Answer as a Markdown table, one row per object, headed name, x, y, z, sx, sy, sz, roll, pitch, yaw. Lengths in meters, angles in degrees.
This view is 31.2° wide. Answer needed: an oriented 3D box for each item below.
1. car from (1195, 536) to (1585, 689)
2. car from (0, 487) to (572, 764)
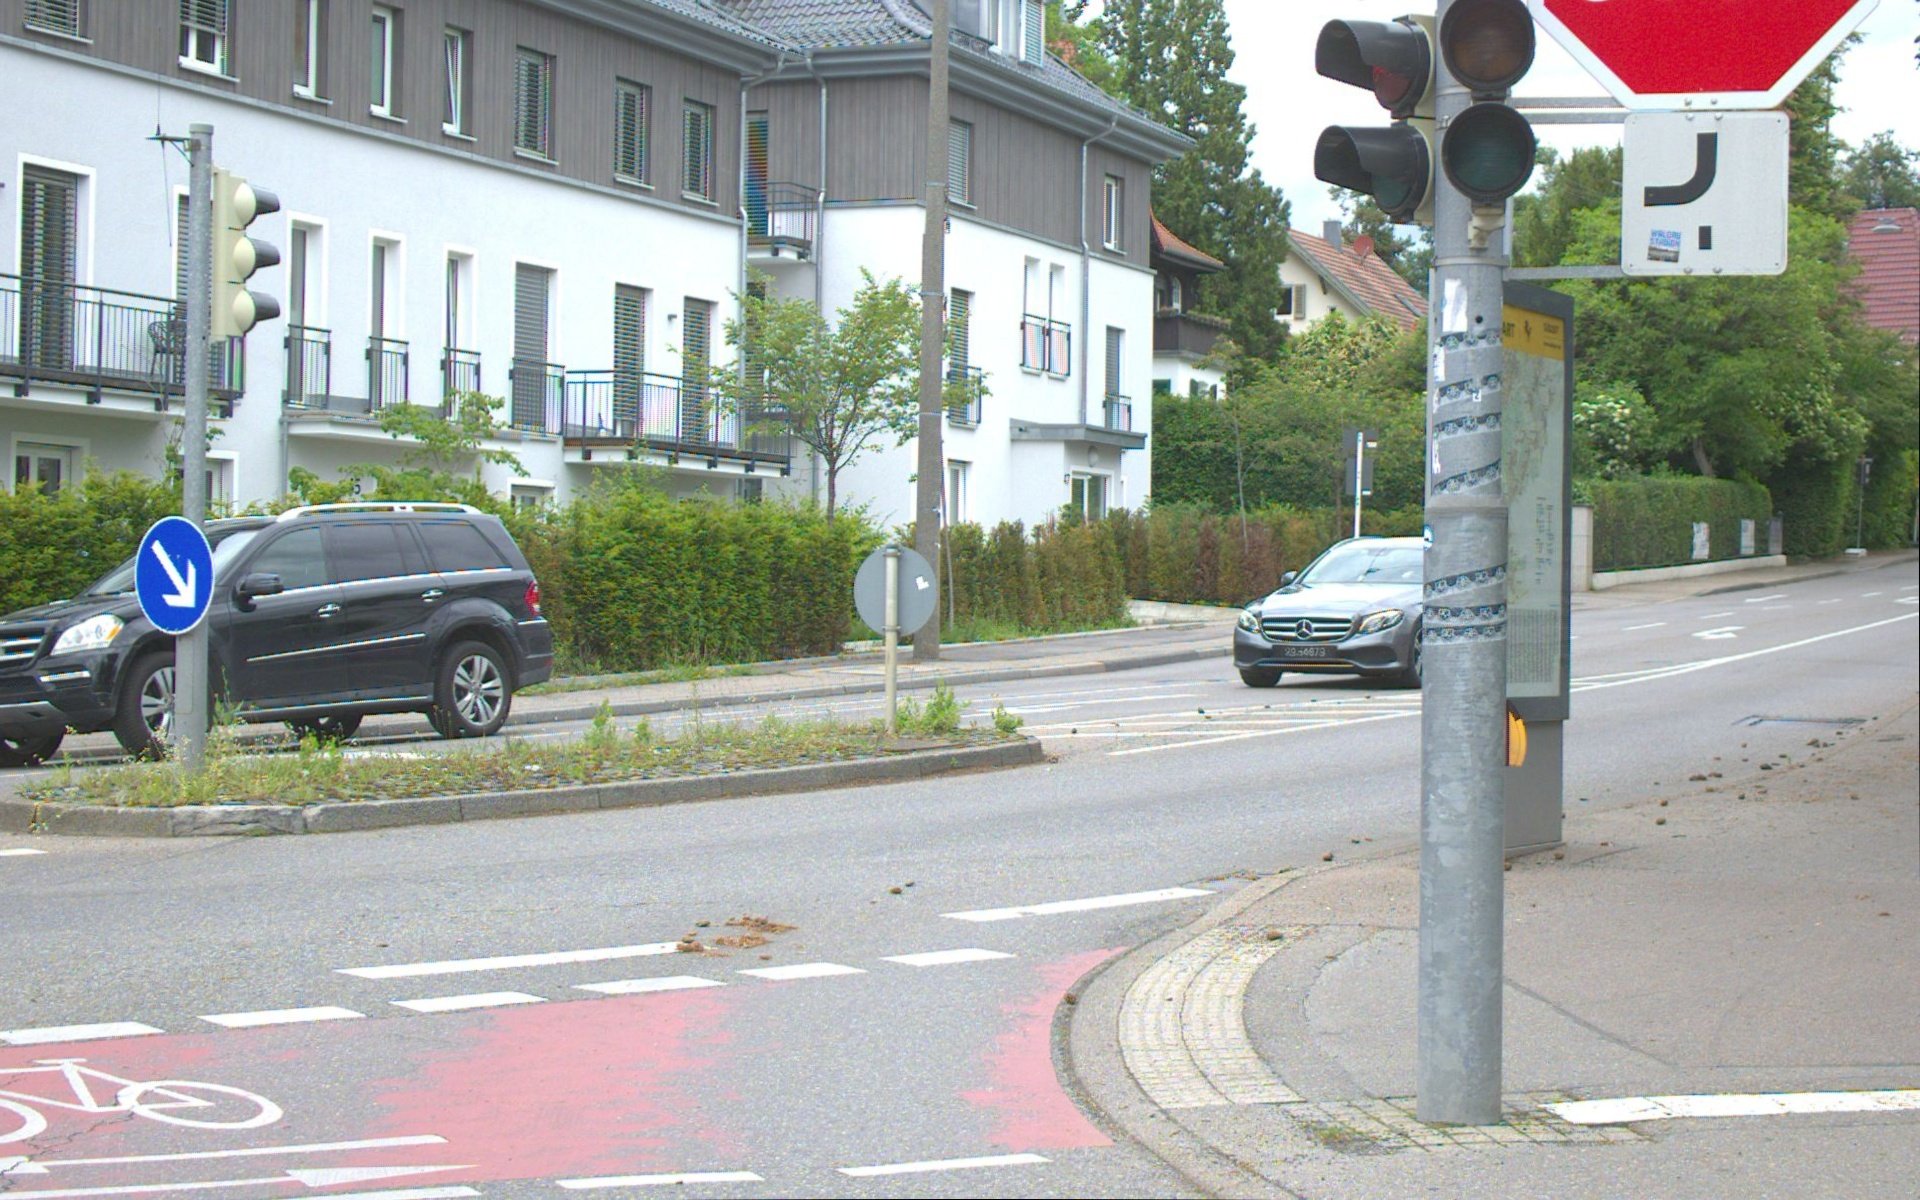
| name | x | y | z | sx | sy | sz | roll | pitch | yaw |
| --- | --- | --- | --- | --- | --- | --- | --- | --- | --- |
| car | 4.409 | 0.070 | 34.640 | 1.942 | 1.399 | 4.733 | 1 | 2 | 34 |
| car | -5.320 | 0.154 | 25.948 | 1.916 | 1.874 | 5.132 | -1 | 0 | 33 |
